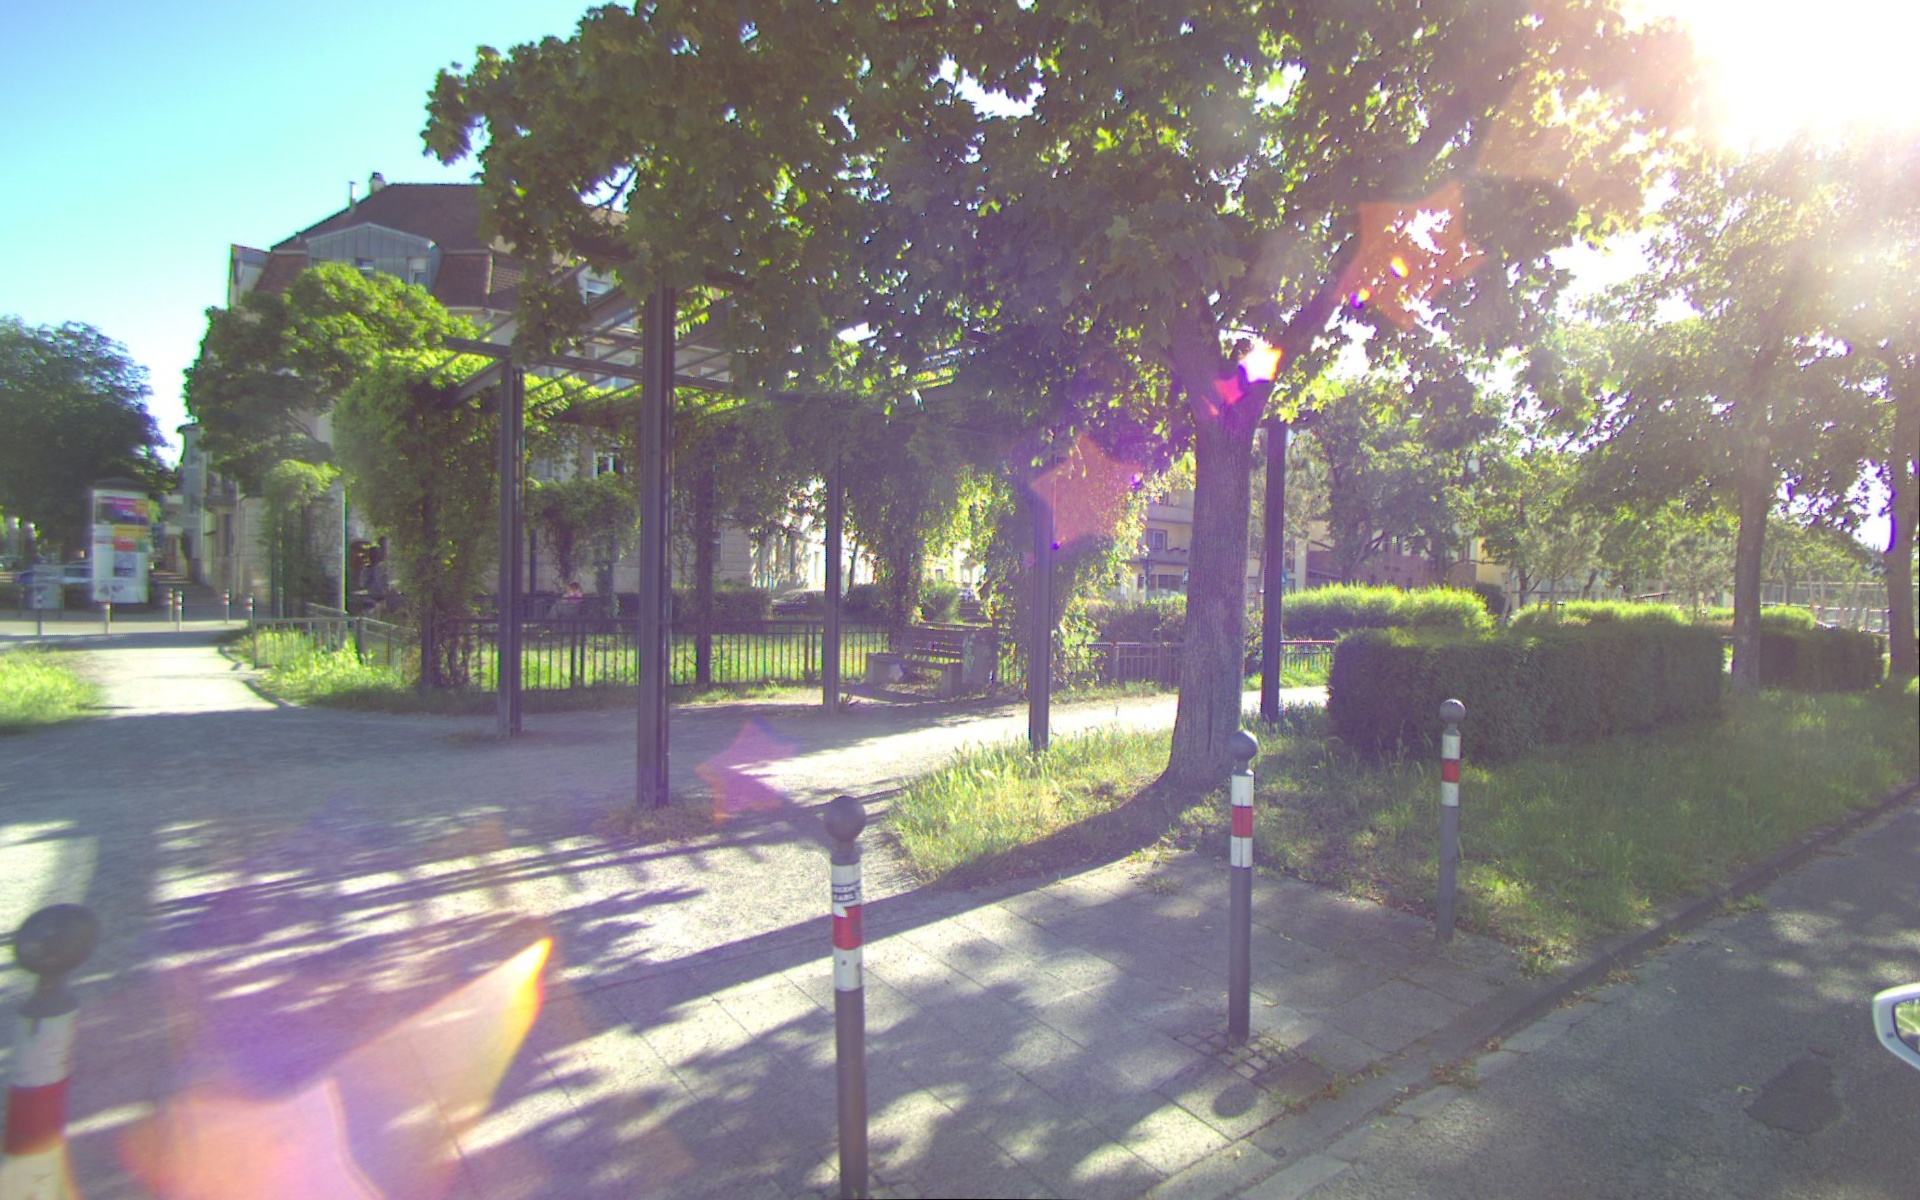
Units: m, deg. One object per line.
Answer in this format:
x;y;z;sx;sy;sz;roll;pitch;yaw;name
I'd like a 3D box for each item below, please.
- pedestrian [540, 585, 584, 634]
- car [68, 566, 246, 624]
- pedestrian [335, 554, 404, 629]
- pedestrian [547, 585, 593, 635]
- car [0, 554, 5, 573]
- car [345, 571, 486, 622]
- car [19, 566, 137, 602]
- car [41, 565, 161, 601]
-9.685;0.223;24.429;0.839;1.165;0.592;1;1;-38;pedestrian
-23.611;-0.132;29.601;3.985;1.503;1.845;1;4;-42;car
-14.016;-0.225;23.852;0.898;1.697;1.087;2;4;32;pedestrian
-9.283;0.238;23.889;0.867;1.154;0.592;1;1;-38;pedestrian
-91.123;-3.454;94.196;1.869;1.767;4.352;1;1;-38;car
-18.518;-0.101;34.231;3.876;1.503;1.845;1;4;-42;car
-38.064;-0.684;43.435;3.763;1.515;1.671;0;2;-42;car
-36.095;-0.716;42.264;3.763;1.464;1.671;0;2;-42;car
